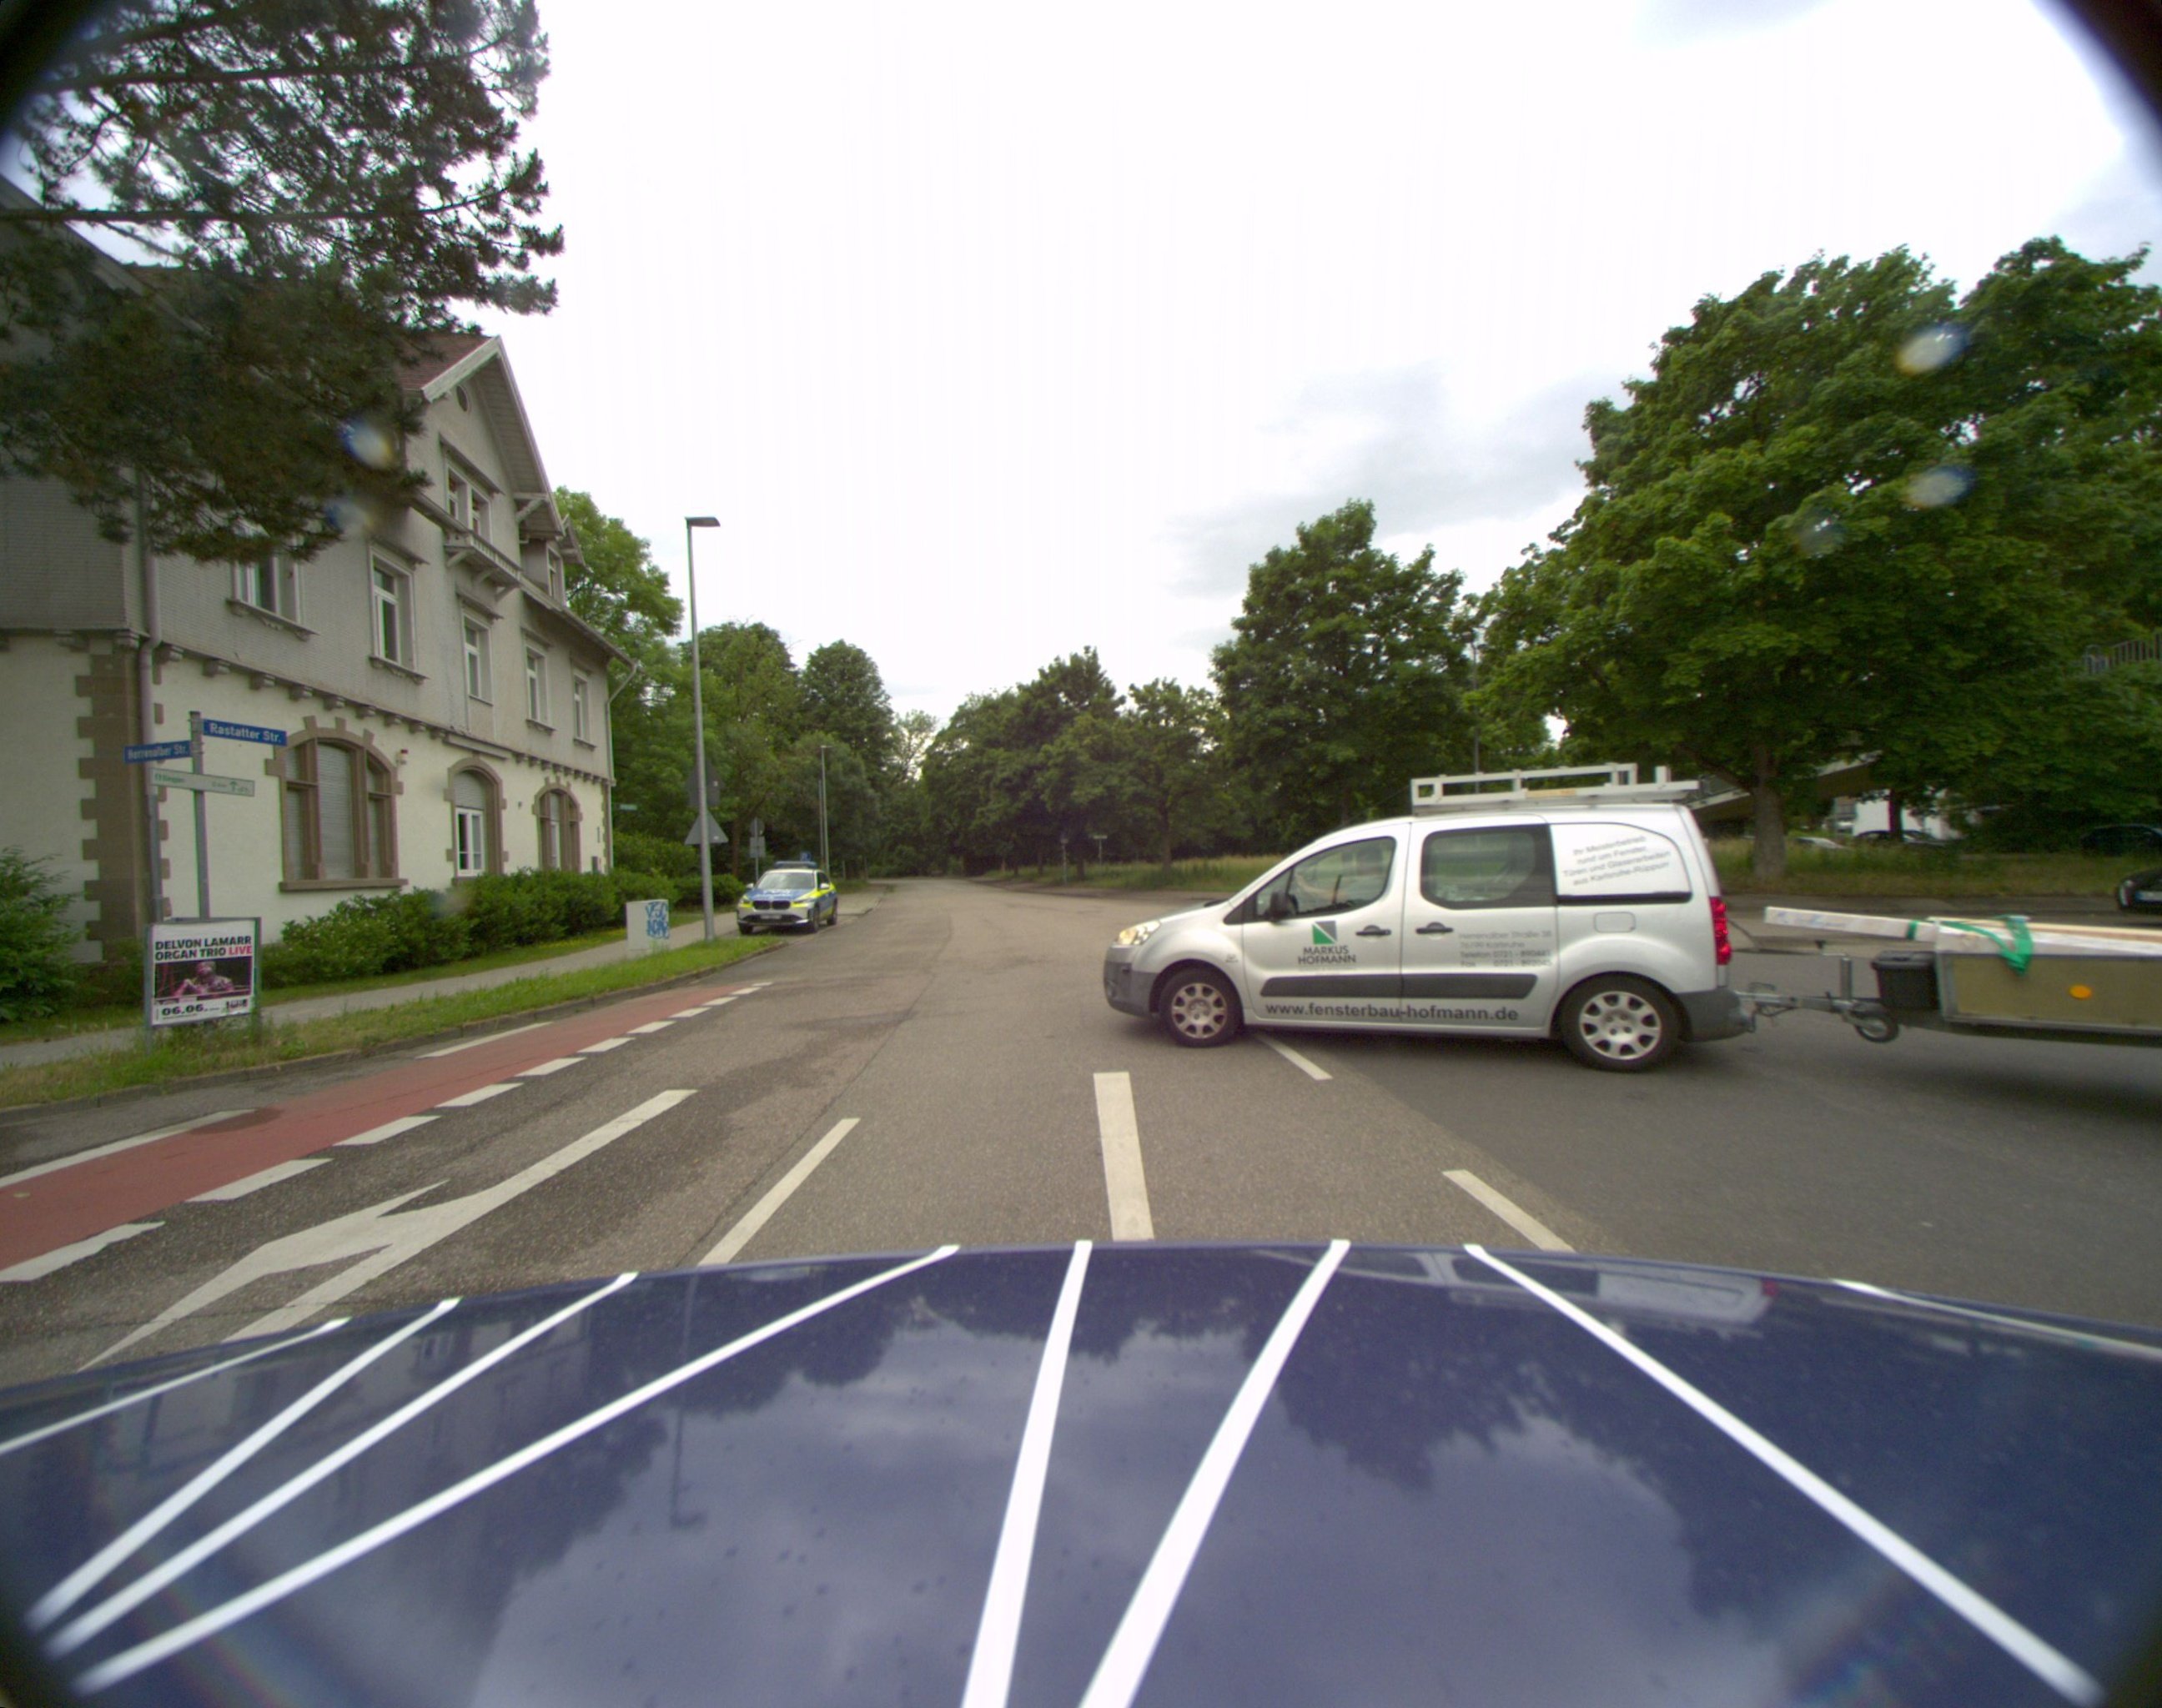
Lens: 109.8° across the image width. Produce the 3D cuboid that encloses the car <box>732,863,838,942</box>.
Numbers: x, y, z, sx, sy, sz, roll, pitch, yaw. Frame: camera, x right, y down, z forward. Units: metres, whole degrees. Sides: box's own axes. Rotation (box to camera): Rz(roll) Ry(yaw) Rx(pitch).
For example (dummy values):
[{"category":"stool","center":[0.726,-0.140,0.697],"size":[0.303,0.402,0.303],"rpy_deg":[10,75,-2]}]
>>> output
[{"category":"car","center":[-7.612,1.153,19.931],"size":[1.937,1.839,3.996],"rpy_deg":[0,0,-12]}]

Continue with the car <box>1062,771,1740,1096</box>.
[{"category":"car","center":[2.231,0.493,6.124],"size":[4.211,1.847,2.098],"rpy_deg":[-2,0,24]}]

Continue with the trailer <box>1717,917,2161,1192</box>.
[{"category":"trailer","center":[5.459,0.957,3.622],"size":[1.575,0.980,3.455],"rpy_deg":[-3,1,-38]}]

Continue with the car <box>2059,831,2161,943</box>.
[{"category":"car","center":[16.464,0.355,9.693],"size":[4.529,1.448,1.807],"rpy_deg":[-2,0,31]}]

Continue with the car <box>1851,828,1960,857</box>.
[{"category":"car","center":[41.829,-0.576,38.689],"size":[1.692,1.343,4.003],"rpy_deg":[-2,0,11]}]

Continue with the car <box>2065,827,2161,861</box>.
[{"category":"car","center":[40.407,-0.394,28.710],"size":[1.692,1.231,4.003],"rpy_deg":[-2,0,11]}]
